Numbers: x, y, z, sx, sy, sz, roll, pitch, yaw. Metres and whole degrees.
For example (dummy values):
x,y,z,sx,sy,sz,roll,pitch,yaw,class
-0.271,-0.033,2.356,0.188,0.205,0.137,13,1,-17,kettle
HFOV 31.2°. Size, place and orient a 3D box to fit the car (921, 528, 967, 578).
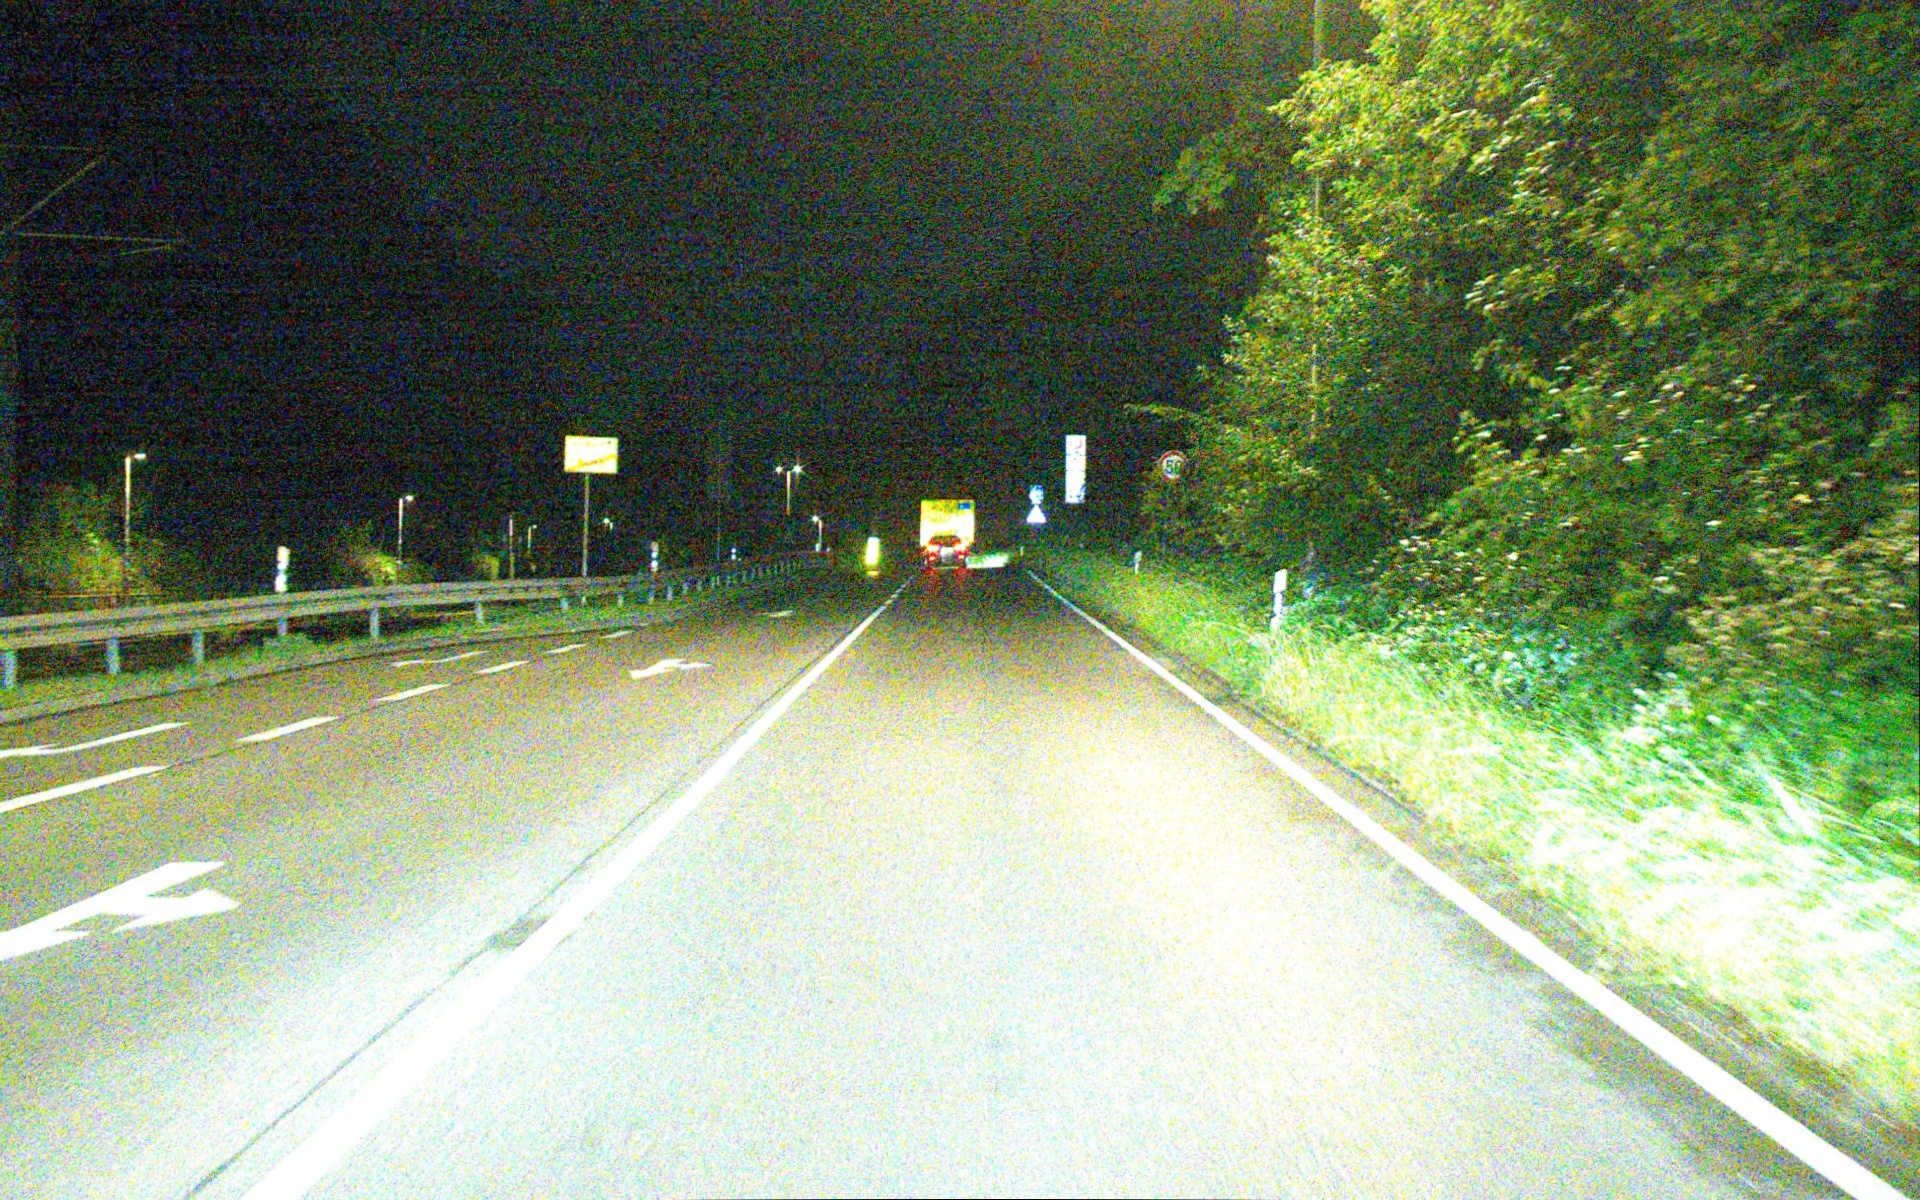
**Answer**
x,y,z,sx,sy,sz,roll,pitch,yaw,class
-0.748,-2.122,156.291,1.993,2.007,4.000,2,-2,-1,car
